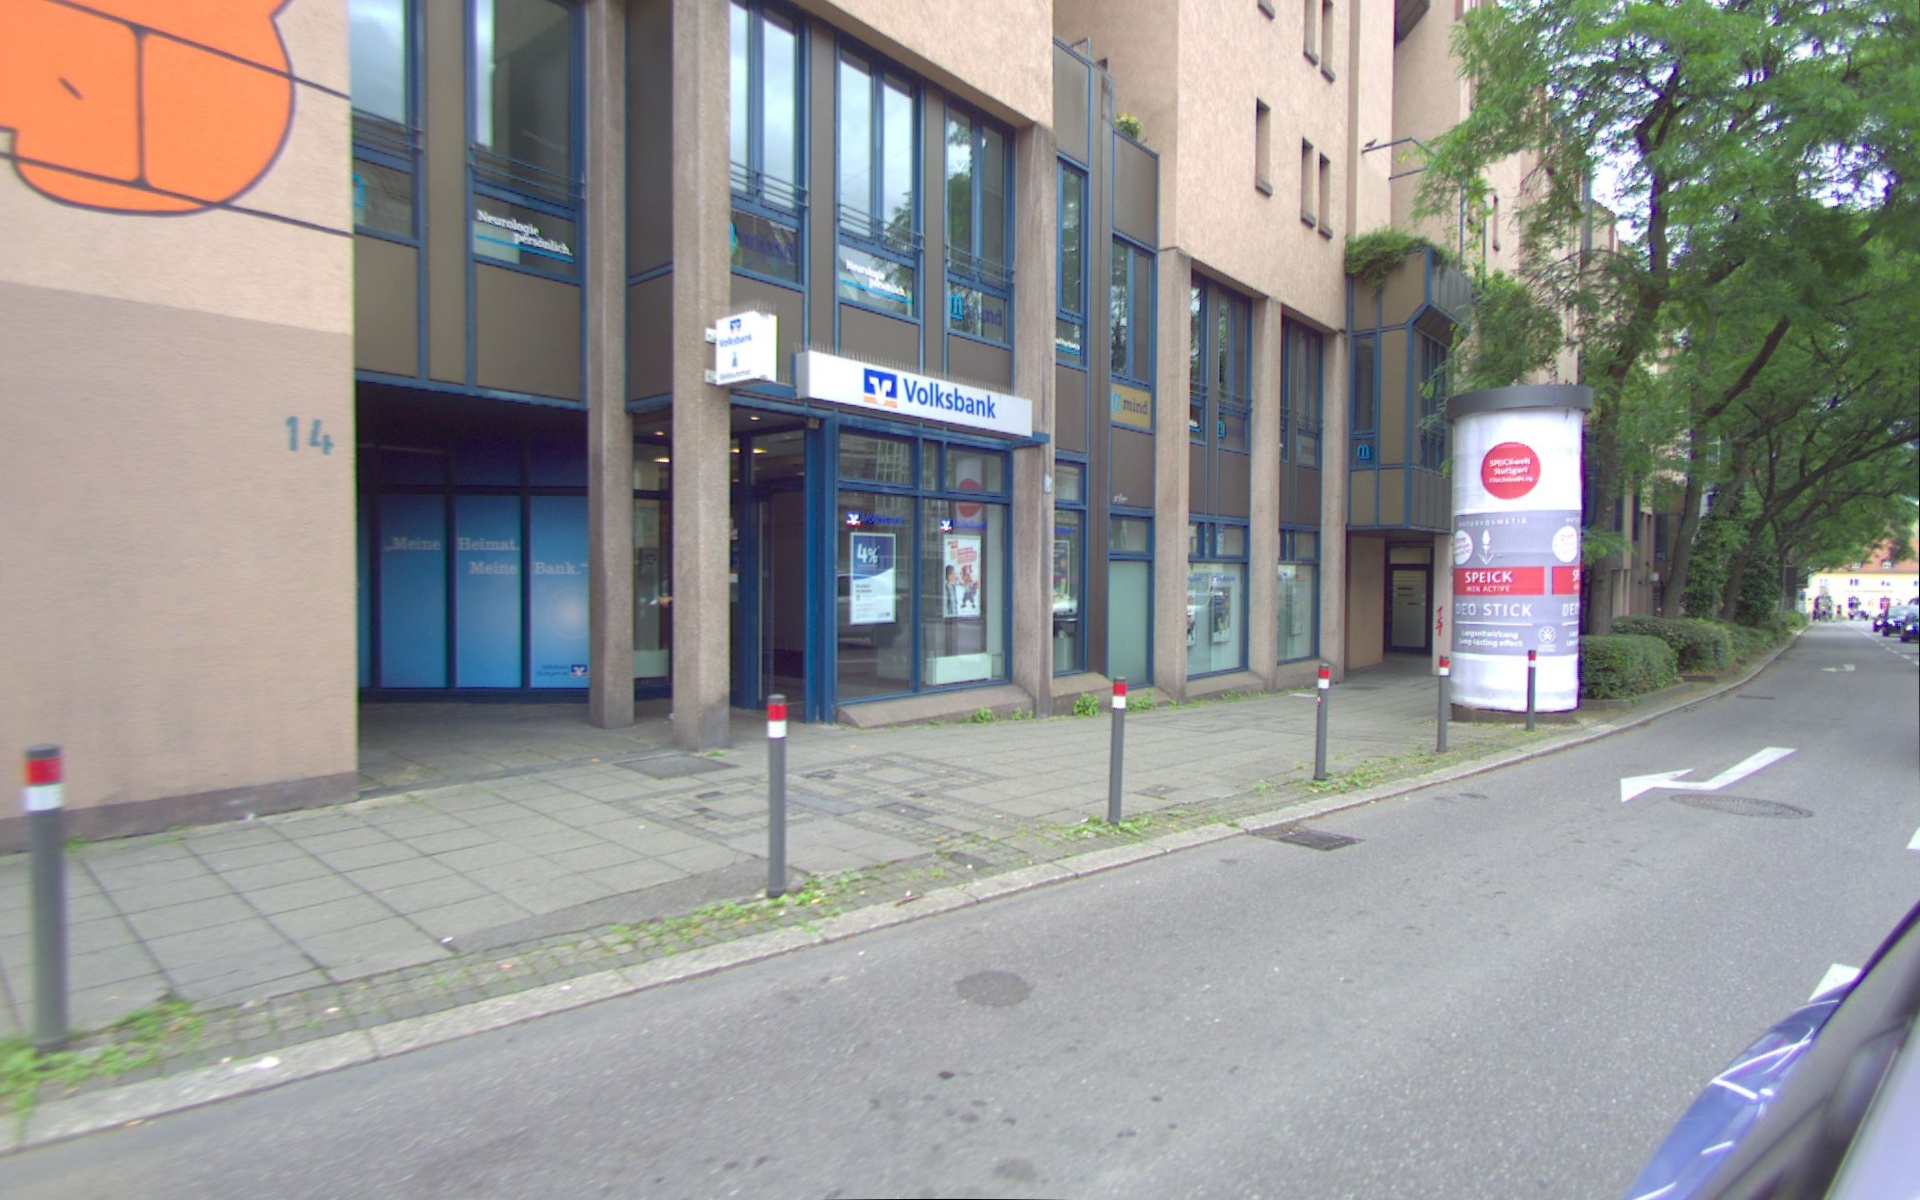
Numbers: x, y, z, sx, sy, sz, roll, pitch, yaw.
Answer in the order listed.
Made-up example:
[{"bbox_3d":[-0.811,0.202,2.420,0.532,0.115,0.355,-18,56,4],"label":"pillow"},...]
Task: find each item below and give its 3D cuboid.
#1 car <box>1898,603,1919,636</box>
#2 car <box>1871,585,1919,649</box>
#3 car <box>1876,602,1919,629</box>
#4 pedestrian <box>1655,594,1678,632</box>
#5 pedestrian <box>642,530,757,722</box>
[{"bbox_3d":[47.441,0.924,49.610,3.934,1.549,1.946,0,0,-44],"label":"car"},{"bbox_3d":[35.041,0.575,36.592,5.628,2.184,2.501,0,0,-41],"label":"car"},{"bbox_3d":[55.981,0.896,60.196,3.934,1.549,1.946,0,0,-44],"label":"car"},{"bbox_3d":[32.874,0.616,47.084,0.675,1.733,0.710,2,-1,-41],"label":"pedestrian"},{"bbox_3d":[-2.504,0.228,9.741,0.781,1.743,0.770,1,0,-44],"label":"pedestrian"}]
